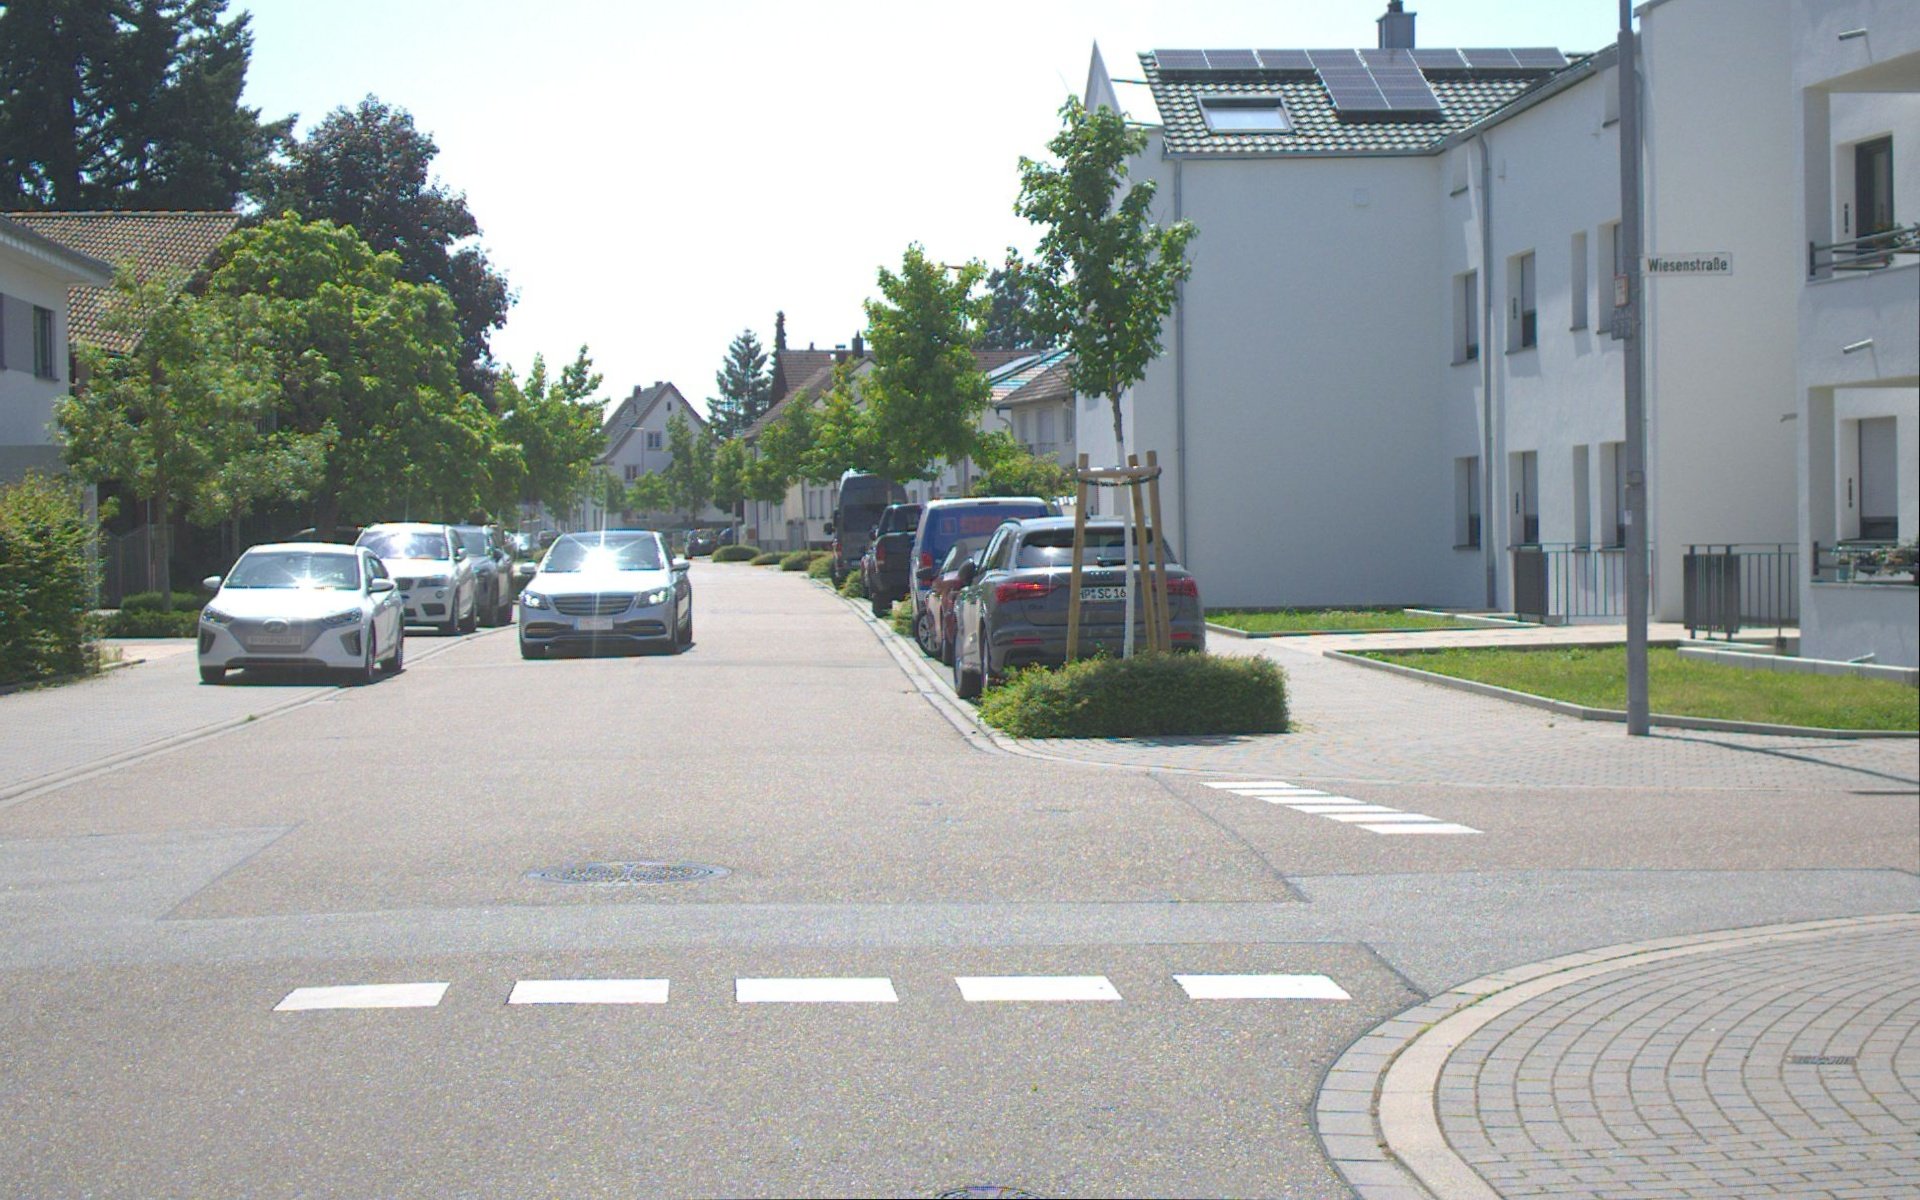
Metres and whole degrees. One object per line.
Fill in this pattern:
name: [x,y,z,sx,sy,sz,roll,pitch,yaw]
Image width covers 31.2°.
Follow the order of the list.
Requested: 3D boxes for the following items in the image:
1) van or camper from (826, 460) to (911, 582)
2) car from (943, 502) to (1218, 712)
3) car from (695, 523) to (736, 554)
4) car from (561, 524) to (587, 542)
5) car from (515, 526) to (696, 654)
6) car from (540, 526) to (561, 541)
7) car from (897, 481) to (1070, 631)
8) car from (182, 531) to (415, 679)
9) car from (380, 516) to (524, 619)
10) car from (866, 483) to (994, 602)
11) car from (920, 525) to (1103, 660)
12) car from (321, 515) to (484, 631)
van or camper: [-2.286,-1.954,84.979,1.993,2.931,4.001,0,1,-3]
car: [0.941,0.003,29.243,1.773,1.590,4.280,-2,2,-5]
car: [-12.724,-3.219,179.007,1.993,1.568,4.001,-1,1,-3]
car: [-26.799,-4.645,238.847,1.663,1.246,3.933,-1,1,-8]
car: [-4.367,-0.171,42.976,1.853,1.473,4.700,-1,1,-1]
car: [-29.512,-4.772,247.773,1.188,1.067,3.054,-1,1,-12]
car: [0.255,-0.616,45.933,2.099,1.875,4.843,-1,1,-2]
car: [-7.116,0.004,37.391,1.852,1.483,4.386,-1,1,-3]
car: [-8.655,-0.587,58.879,1.993,1.674,4.215,-1,1,-3]
car: [-0.579,-1.025,60.173,1.993,1.940,5.215,-2,1,-3]
car: [0.539,-0.127,39.330,1.679,1.437,4.028,-1,1,-5]
car: [-8.453,-0.450,52.458,1.927,1.681,4.499,-1,1,-3]
